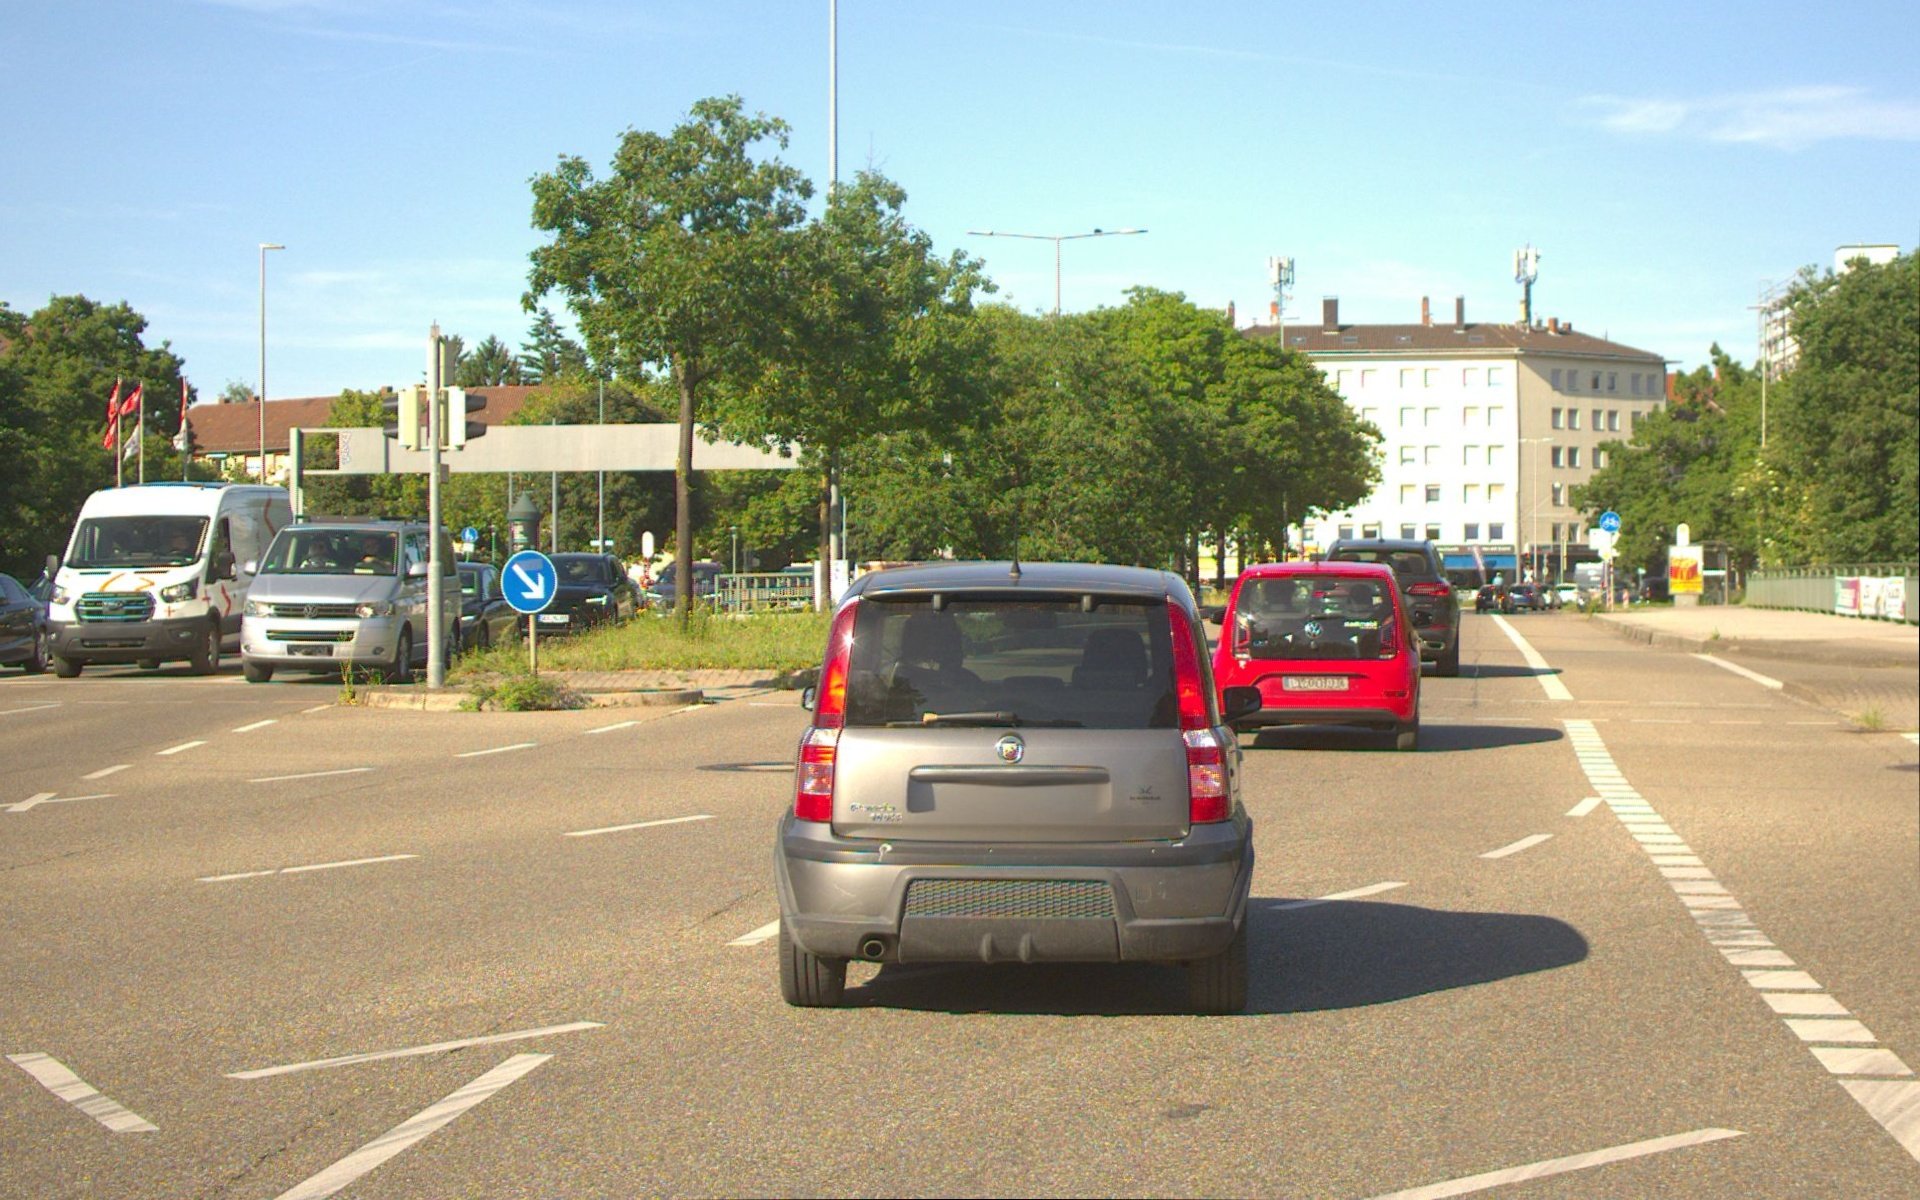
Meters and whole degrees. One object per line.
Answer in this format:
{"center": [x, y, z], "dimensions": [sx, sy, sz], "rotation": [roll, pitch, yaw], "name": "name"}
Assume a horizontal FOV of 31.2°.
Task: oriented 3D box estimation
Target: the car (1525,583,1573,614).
{"center": [34.055, -0.082, 198.805], "dimensions": [1.868, 1.675, 3.903], "rotation": [1, -2, 23], "name": "car"}

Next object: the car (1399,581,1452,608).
{"center": [26.566, -0.318, 196.181], "dimensions": [1.948, 1.523, 4.092], "rotation": [0, 1, 24], "name": "car"}

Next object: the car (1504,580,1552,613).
{"center": [31.662, -0.184, 191.553], "dimensions": [1.867, 1.675, 3.904], "rotation": [1, -2, 21], "name": "car"}

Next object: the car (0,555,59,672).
{"center": [-13.328, 0.184, 45.201], "dimensions": [1.936, 1.502, 4.000], "rotation": [-1, 1, -1], "name": "car"}

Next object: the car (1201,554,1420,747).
{"center": [2.819, 0.365, 28.240], "dimensions": [1.617, 1.458, 3.750], "rotation": [1, 1, 4], "name": "car"}

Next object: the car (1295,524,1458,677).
{"center": [5.438, 0.015, 44.530], "dimensions": [1.946, 1.834, 4.151], "rotation": [2, 0, 8], "name": "car"}

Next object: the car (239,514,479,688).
{"center": [-7.263, -0.012, 42.025], "dimensions": [1.937, 2.001, 4.931], "rotation": [0, 1, 2], "name": "car"}

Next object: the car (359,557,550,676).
{"center": [-7.115, 0.197, 48.827], "dimensions": [1.937, 1.617, 4.505], "rotation": [0, 1, 2], "name": "car"}

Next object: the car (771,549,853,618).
{"center": [-4.417, -0.507, 103.141], "dimensions": [1.994, 2.007, 4.333], "rotation": [-1, 0, 4], "name": "car"}

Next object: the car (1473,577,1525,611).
{"center": [28.890, -0.303, 184.301], "dimensions": [1.868, 1.675, 3.904], "rotation": [1, -2, 22], "name": "car"}

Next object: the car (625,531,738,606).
{"center": [-6.171, -0.714, 76.581], "dimensions": [1.937, 1.617, 4.505], "rotation": [0, 1, 3], "name": "car"}

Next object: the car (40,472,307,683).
{"center": [-10.160, -0.312, 44.926], "dimensions": [1.937, 2.567, 6.088], "rotation": [0, 1, 2], "name": "car"}

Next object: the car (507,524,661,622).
{"center": [-6.429, -0.476, 59.285], "dimensions": [1.937, 1.617, 4.505], "rotation": [0, 1, 3], "name": "car"}

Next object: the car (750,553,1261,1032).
{"center": [0.209, 0.590, 12.918], "dimensions": [1.617, 1.510, 3.819], "rotation": [1, 1, 2], "name": "car"}
